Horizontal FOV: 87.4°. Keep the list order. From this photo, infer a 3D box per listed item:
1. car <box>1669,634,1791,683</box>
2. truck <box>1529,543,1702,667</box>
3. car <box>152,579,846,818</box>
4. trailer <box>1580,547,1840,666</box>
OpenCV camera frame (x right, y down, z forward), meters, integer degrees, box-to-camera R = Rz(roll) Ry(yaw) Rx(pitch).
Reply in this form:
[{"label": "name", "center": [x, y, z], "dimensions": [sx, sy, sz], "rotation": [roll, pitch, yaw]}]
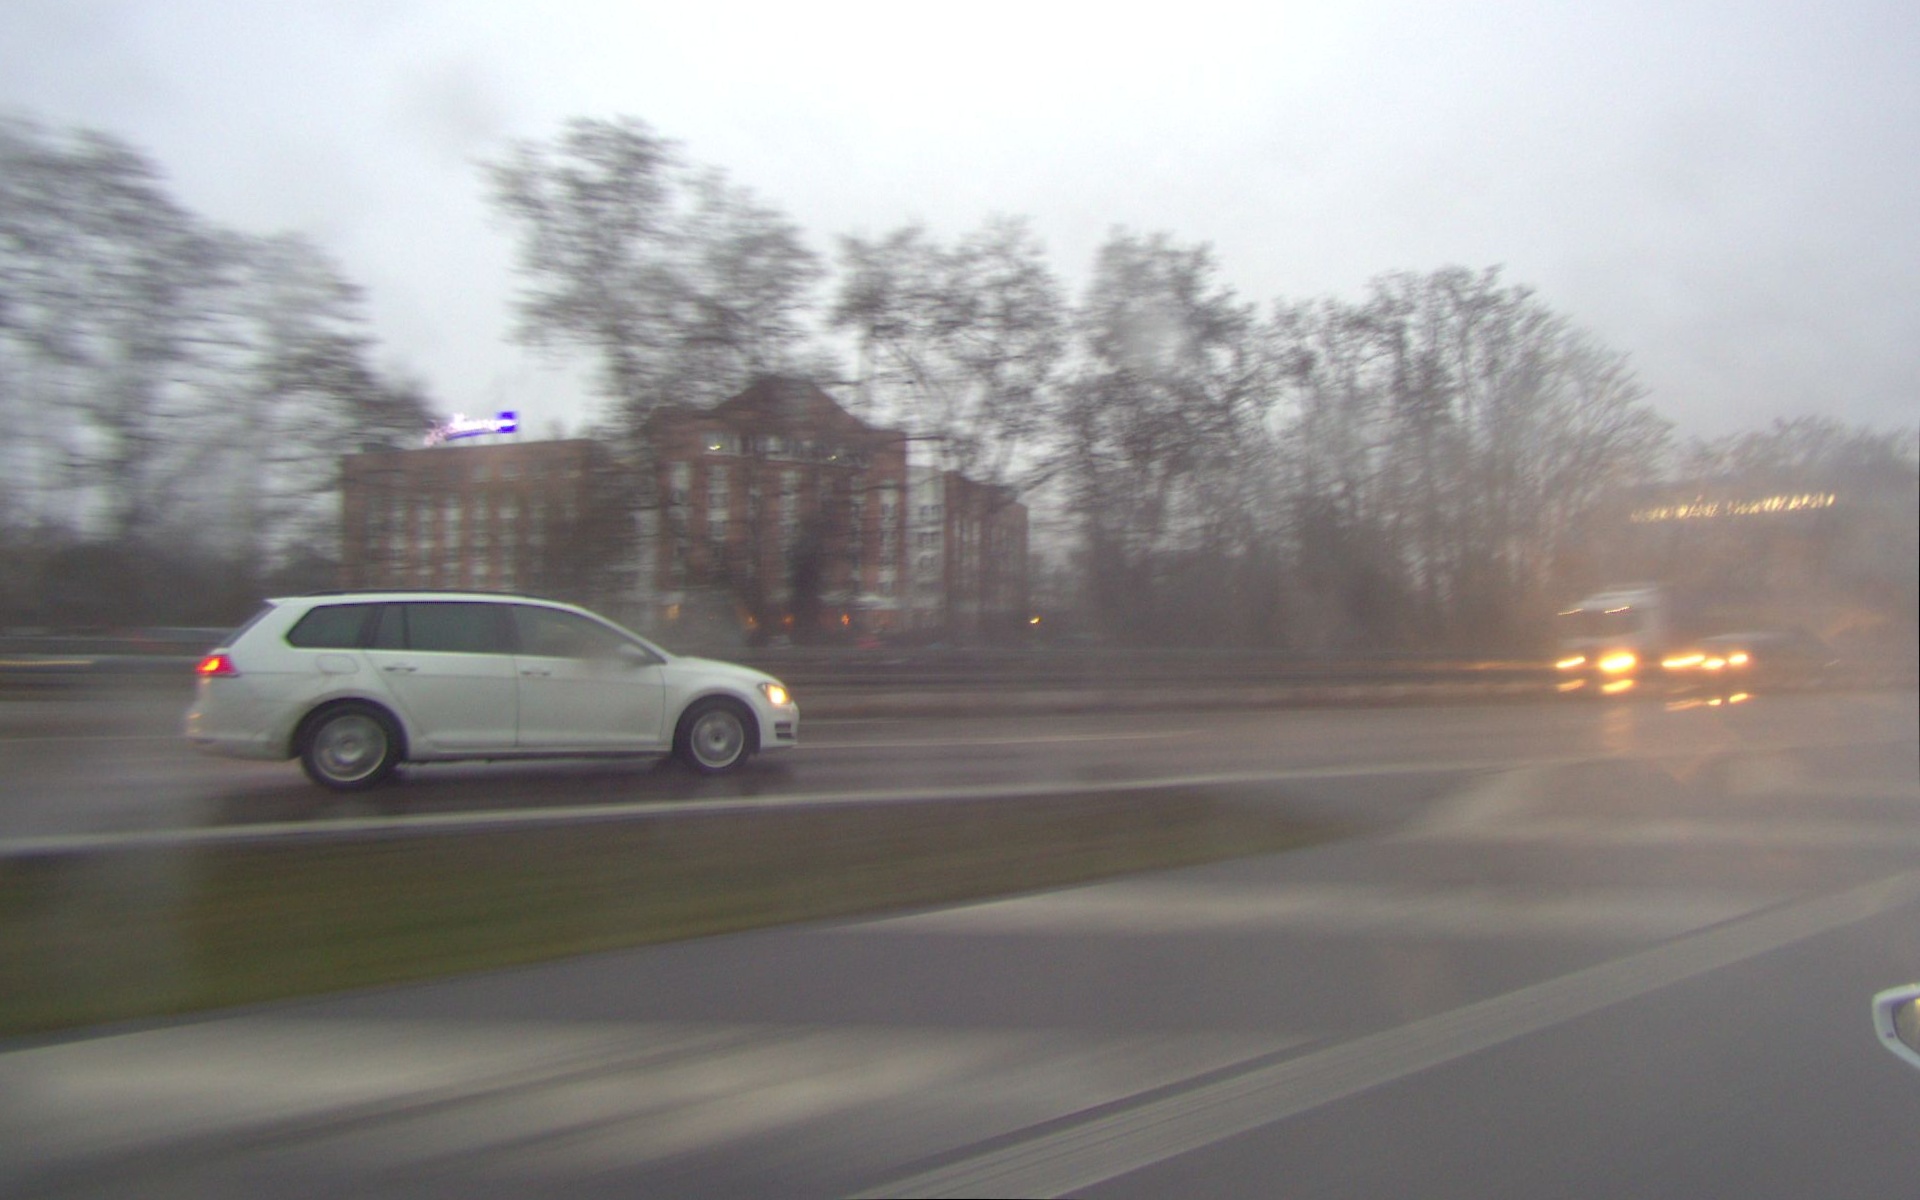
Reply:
[{"label": "car", "center": [26.632, 2.001, 34.742], "dimensions": [3.986, 1.585, 1.696], "rotation": [1, -1, -25]}, {"label": "truck", "center": [27.922, 0.260, 42.822], "dimensions": [5.948, 4.912, 3.480], "rotation": [1, 0, -24]}, {"label": "car", "center": [-3.503, 0.720, 8.423], "dimensions": [4.724, 1.540, 1.942], "rotation": [1, -3, -26]}, {"label": "trailer", "center": [34.314, 0.425, 45.763], "dimensions": [13.294, 4.912, 3.480], "rotation": [1, 0, -25]}]
